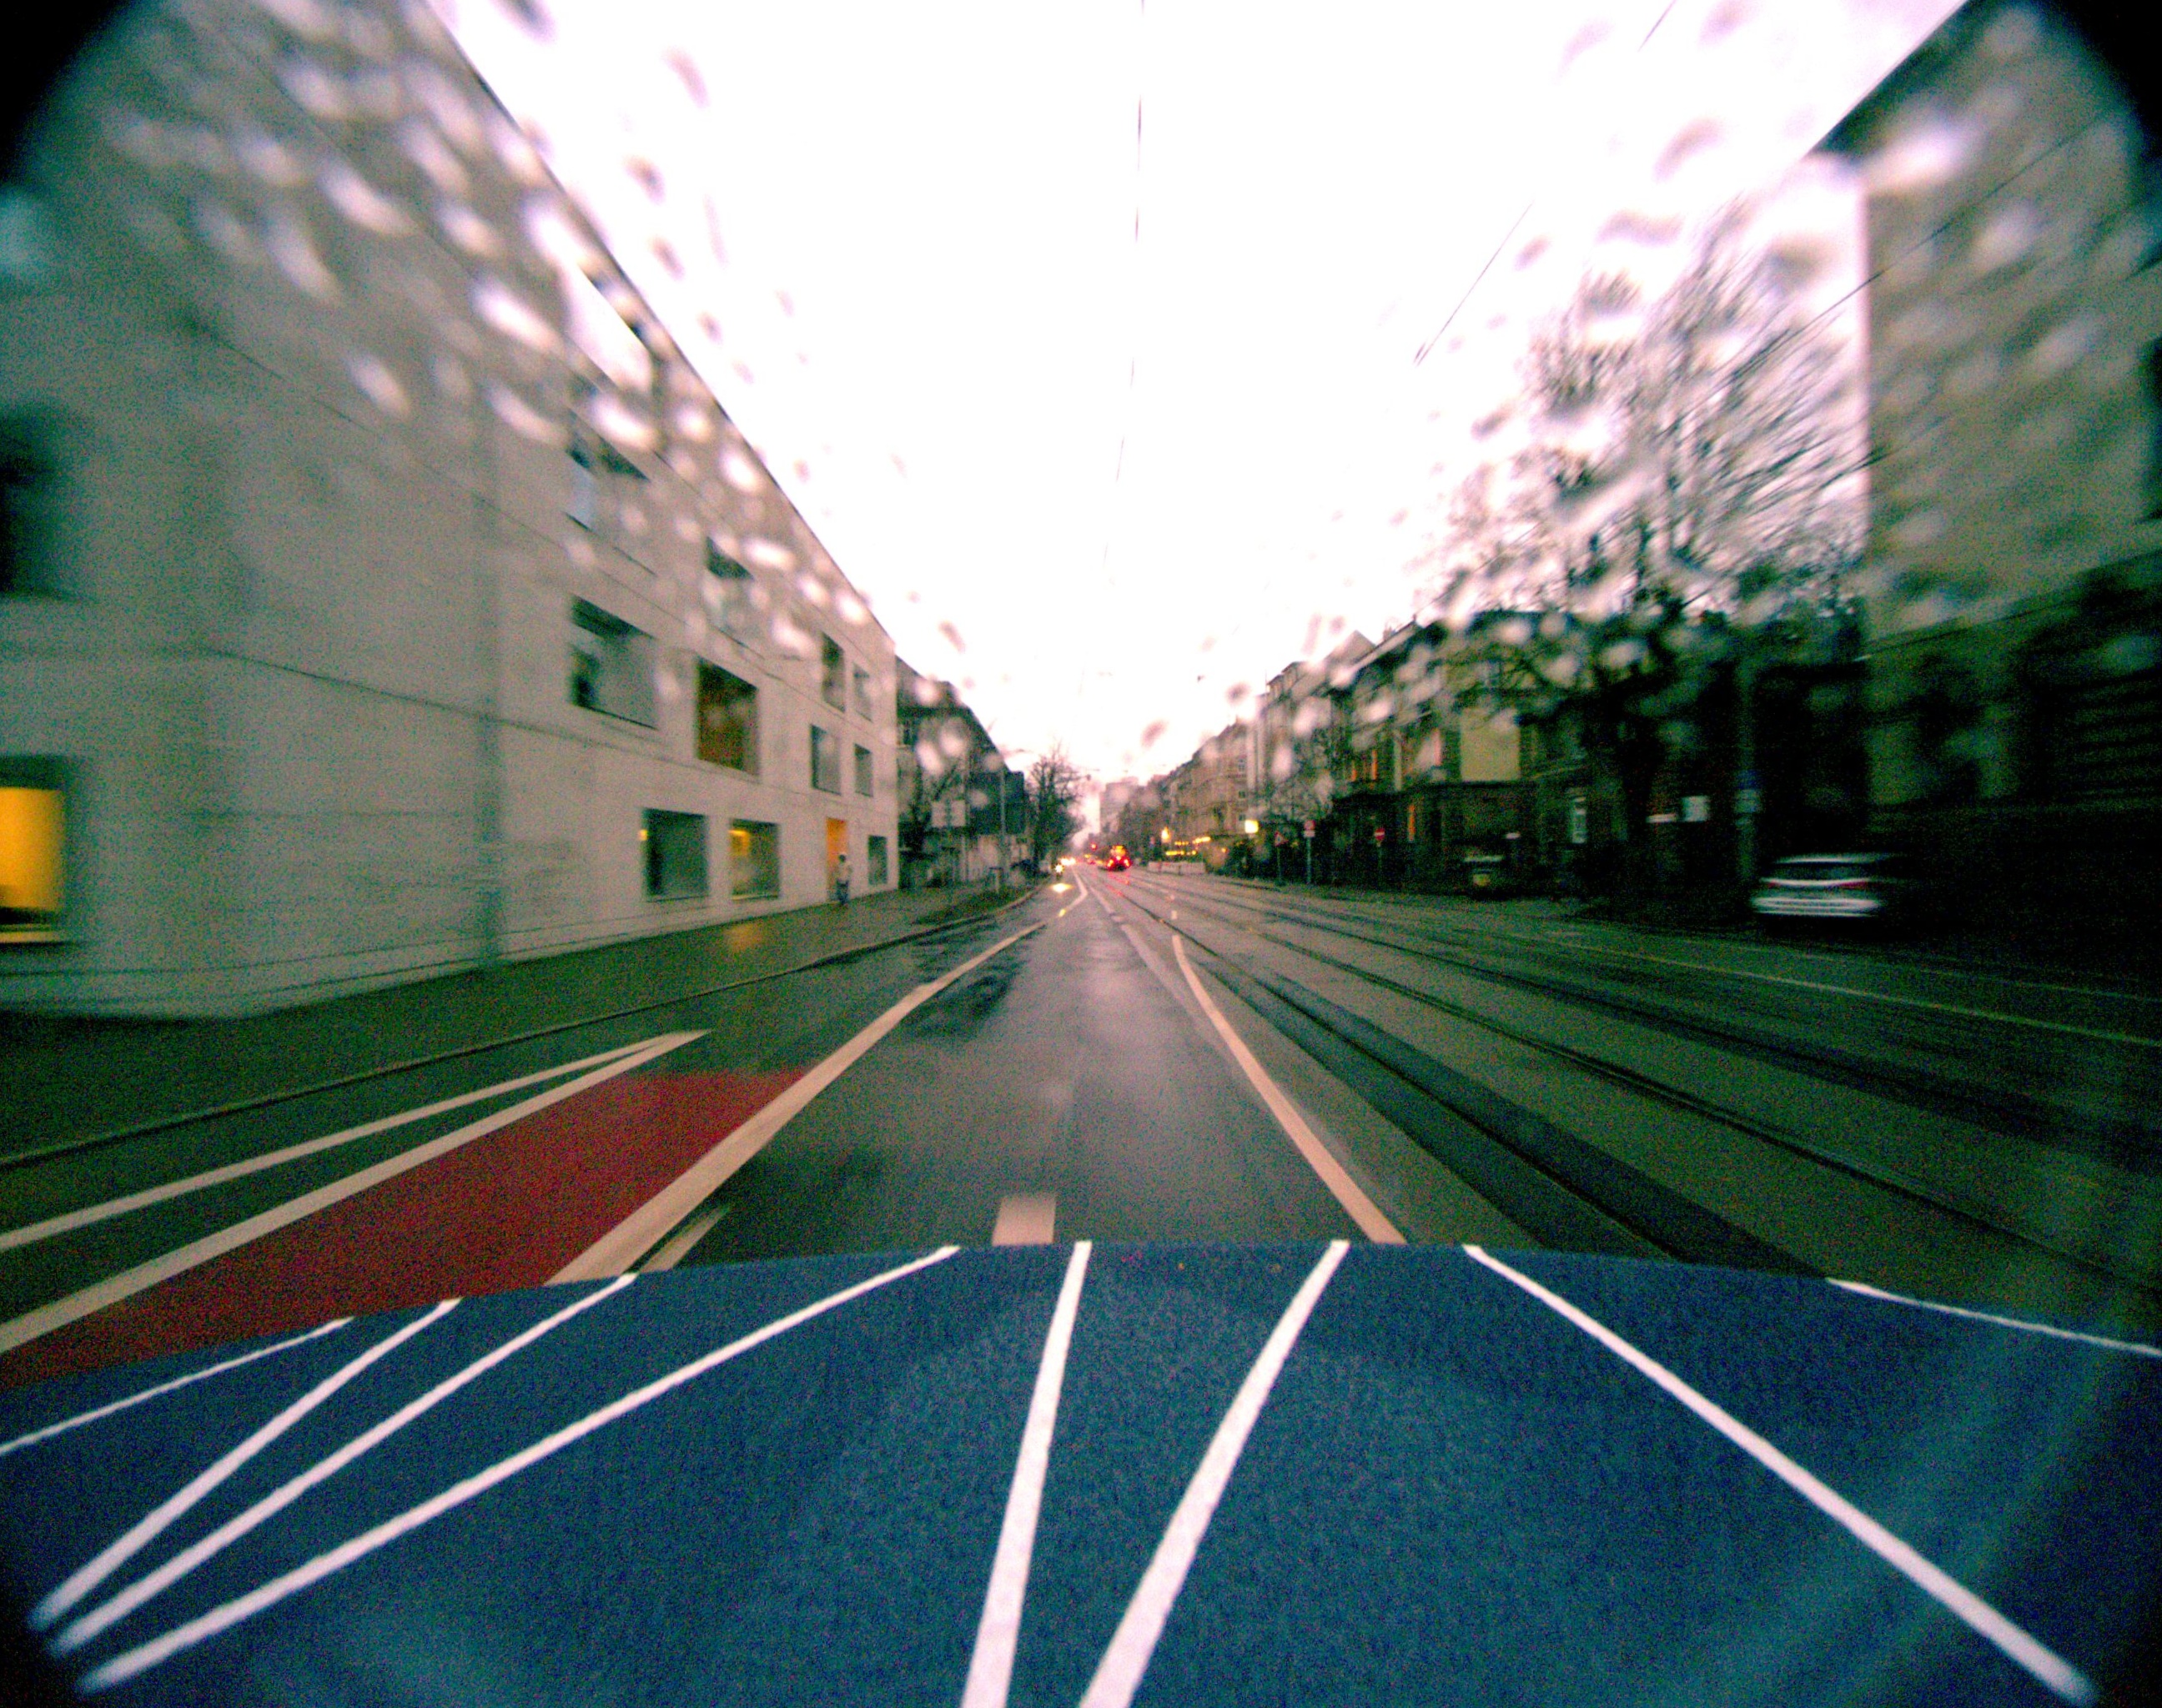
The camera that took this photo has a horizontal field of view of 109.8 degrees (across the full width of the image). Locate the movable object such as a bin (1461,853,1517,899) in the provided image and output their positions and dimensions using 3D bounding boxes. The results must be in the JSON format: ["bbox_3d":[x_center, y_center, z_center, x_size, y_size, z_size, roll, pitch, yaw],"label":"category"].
[{"bbox_3d":[13.877,0.750,25.841,0.988,1.456,1.341,-4,1,-38],"label":"movable object such as a bin"}]

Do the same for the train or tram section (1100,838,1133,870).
[{"bbox_3d":[4.599,-0.014,104.618,2.886,3.715,27.329,-3,0,-1],"label":"train or tram section"}]

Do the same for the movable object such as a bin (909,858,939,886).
[{"bbox_3d":[-8.159,0.925,39.665,1.259,1.437,1.419,-1,0,0],"label":"movable object such as a bin"}]

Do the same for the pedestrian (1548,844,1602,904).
[{"bbox_3d":[14.646,0.586,22.544,0.925,1.693,0.946,-4,1,-23],"label":"pedestrian"}]

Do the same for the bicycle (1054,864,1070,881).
[{"bbox_3d":[-1.268,1.251,51.093,0.723,1.083,2.287,-2,-1,7],"label":"bicycle"}]

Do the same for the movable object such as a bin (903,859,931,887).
[{"bbox_3d":[-8.922,1.025,41.502,1.260,1.437,1.418,-1,0,-3],"label":"movable object such as a bin"}]

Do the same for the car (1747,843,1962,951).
[{"bbox_3d":[14.529,0.708,14.232,4.190,1.581,1.771,-3,1,-30],"label":"car"}]

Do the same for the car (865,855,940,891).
[{"bbox_3d":[-9.291,0.991,39.791,3.458,1.637,1.731,-3,1,-1],"label":"car"}]

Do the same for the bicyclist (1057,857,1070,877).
[{"bbox_3d":[-1.201,0.875,51.234,0.716,1.335,0.720,-3,1,6],"label":"bicyclist"}]

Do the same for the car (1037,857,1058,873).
[{"bbox_3d":[-3.286,1.085,75.652,1.658,1.507,3.502,-3,0,4],"label":"car"}]

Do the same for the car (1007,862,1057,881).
[{"bbox_3d":[-4.250,1.498,65.781,3.859,1.421,1.860,-3,0,-17],"label":"car"}]

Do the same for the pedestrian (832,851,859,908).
[{"bbox_3d":[-7.710,0.820,24.855,0.657,1.849,0.659,0,1,1],"label":"pedestrian"}]

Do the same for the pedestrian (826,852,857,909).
[{"bbox_3d":[-7.824,0.851,24.862,0.773,1.848,0.718,0,1,1],"label":"pedestrian"}]

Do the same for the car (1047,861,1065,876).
[{"bbox_3d":[-2.782,1.568,85.360,1.658,1.507,3.502,-3,0,4],"label":"car"}]
